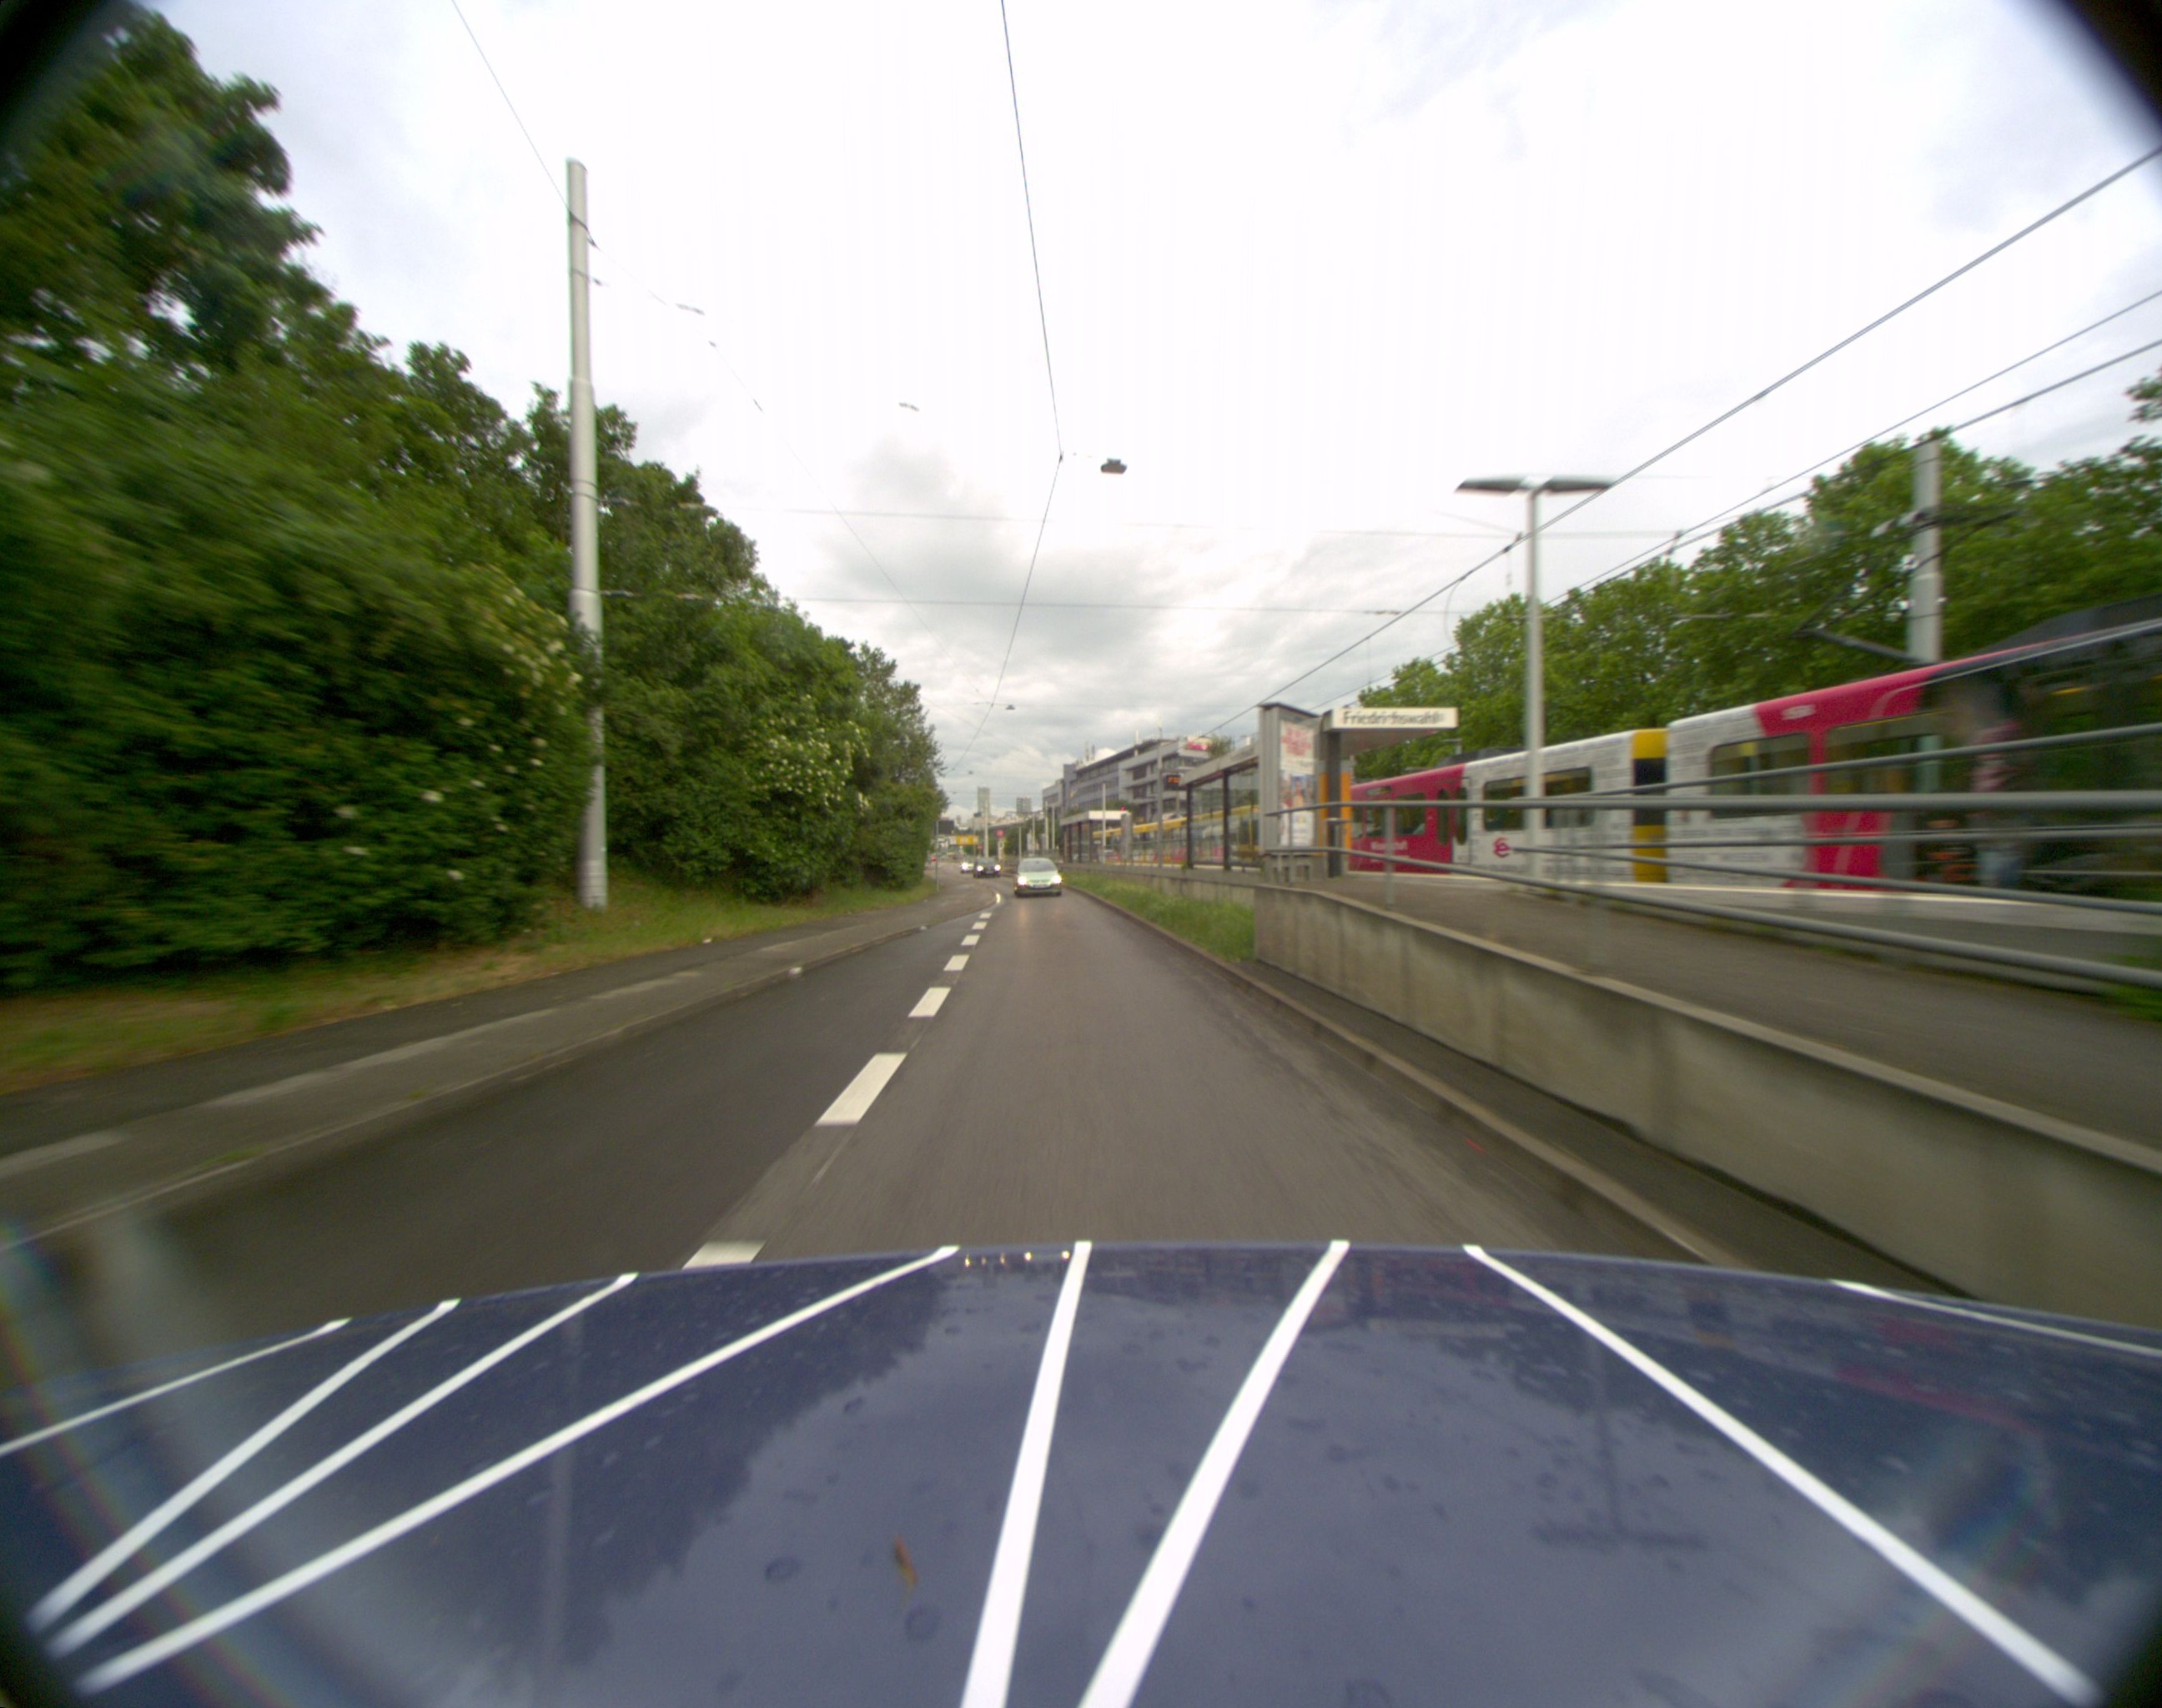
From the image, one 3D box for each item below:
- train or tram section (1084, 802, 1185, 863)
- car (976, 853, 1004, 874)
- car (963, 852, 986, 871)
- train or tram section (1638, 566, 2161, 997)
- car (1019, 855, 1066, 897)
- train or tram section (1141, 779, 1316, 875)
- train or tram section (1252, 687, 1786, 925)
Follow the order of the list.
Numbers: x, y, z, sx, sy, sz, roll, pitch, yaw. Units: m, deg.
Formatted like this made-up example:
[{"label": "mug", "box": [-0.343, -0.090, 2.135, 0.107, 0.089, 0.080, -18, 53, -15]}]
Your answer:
[{"label": "train or tram section", "box": [3.684, -1.566, 60.865, 2.878, 3.950, 19.308, -3, 1, -11]}, {"label": "car", "box": [-6.795, 0.681, 56.358, 1.782, 1.493, 3.996, -2, 1, -11]}, {"label": "car", "box": [-10.118, 0.702, 71.908, 2.000, 1.563, 3.996, -3, 1, -9]}, {"label": "train or tram section", "box": [11.563, -0.651, 3.362, 2.876, 3.938, 19.319, -3, 1, -4]}, {"label": "car", "box": [-1.602, 0.812, 30.554, 1.781, 1.493, 3.997, 0, 1, -4]}, {"label": "train or tram section", "box": [7.045, -1.303, 41.802, 2.877, 3.932, 19.311, -3, 1, -9]}, {"label": "train or tram section", "box": [9.763, -1.004, 22.659, 2.876, 3.948, 19.315, -3, 1, -6]}]
